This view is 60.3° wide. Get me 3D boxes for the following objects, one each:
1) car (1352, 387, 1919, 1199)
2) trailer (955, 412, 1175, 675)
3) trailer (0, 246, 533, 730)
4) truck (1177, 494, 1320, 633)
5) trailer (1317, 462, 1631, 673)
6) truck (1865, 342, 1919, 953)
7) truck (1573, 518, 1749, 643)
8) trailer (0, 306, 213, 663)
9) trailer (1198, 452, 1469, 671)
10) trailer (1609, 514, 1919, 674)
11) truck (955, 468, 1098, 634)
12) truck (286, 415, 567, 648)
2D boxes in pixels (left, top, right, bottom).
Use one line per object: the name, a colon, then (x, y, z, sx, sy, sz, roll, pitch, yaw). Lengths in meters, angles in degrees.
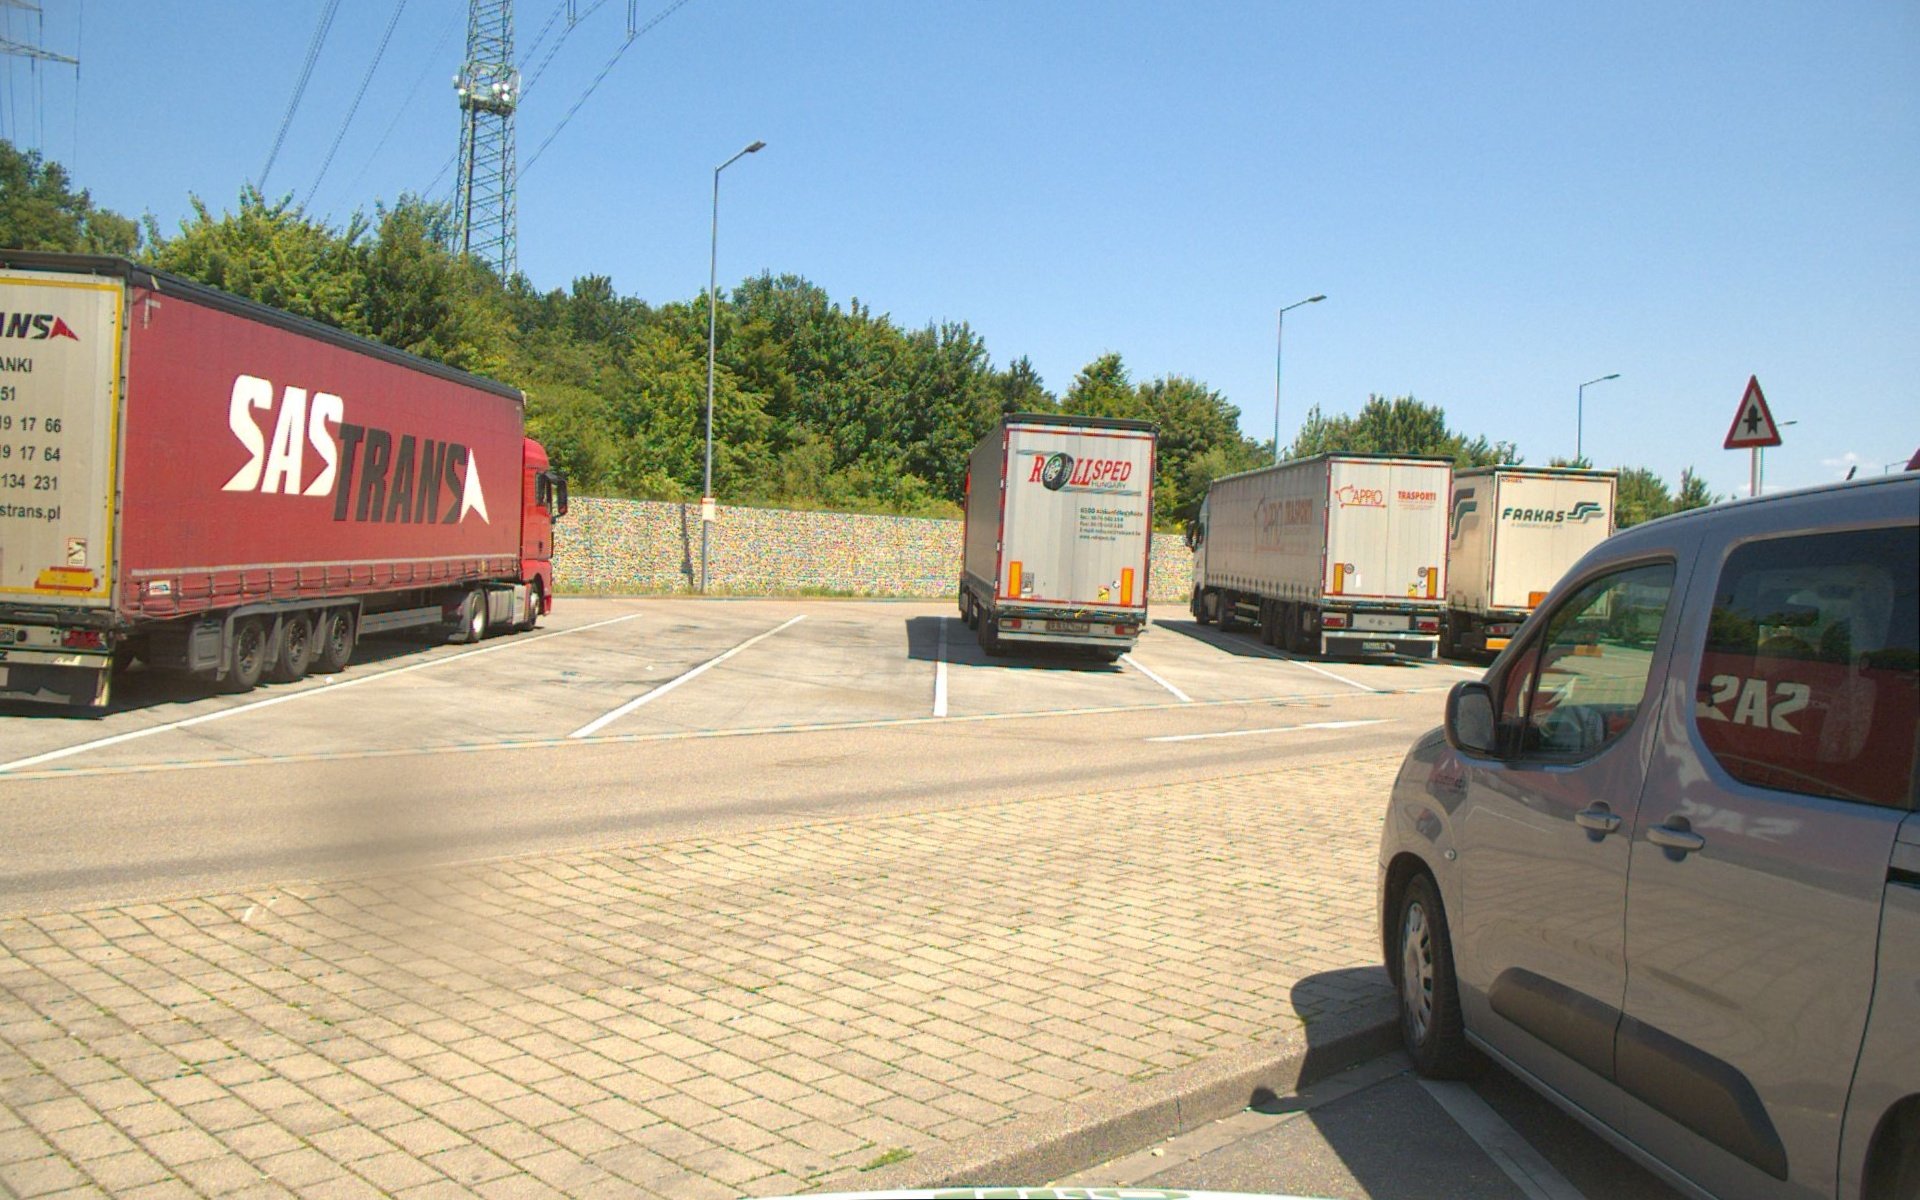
car: (2.439, 0.603, 3.860, 1.832, 1.896, 4.174, 3, 1, -2)
trailer: (1.660, -1.192, 33.646, 3.070, 4.058, 14.393, 3, 2, -1)
trailer: (-8.725, -1.289, 21.441, 2.735, 4.155, 14.131, 3, 2, -1)
truck: (8.056, -1.090, 46.954, 2.804, 3.582, 5.900, 3, 2, -1)
trailer: (11.736, -0.933, 39.959, 2.754, 4.058, 14.395, 3, 2, -1)
truck: (5.001, 0.200, 4.983, 1.937, 2.668, 5.307, 1, 0, 4)
truck: (21.769, -0.694, 51.738, 2.746, 3.582, 5.900, 3, 2, -1)
trailer: (-12.552, -1.334, 17.719, 2.739, 4.155, 14.131, 3, 2, -1)
trailer: (8.173, -1.028, 38.855, 2.754, 4.058, 14.395, 3, 2, -1)
trailer: (21.846, -0.389, 44.509, 2.754, 3.568, 14.395, 3, 2, -1)
truck: (1.504, -1.237, 40.537, 3.041, 3.628, 5.900, 3, 2, -1)
truck: (-8.789, -1.149, 28.011, 2.793, 3.385, 5.900, 3, 2, -1)
